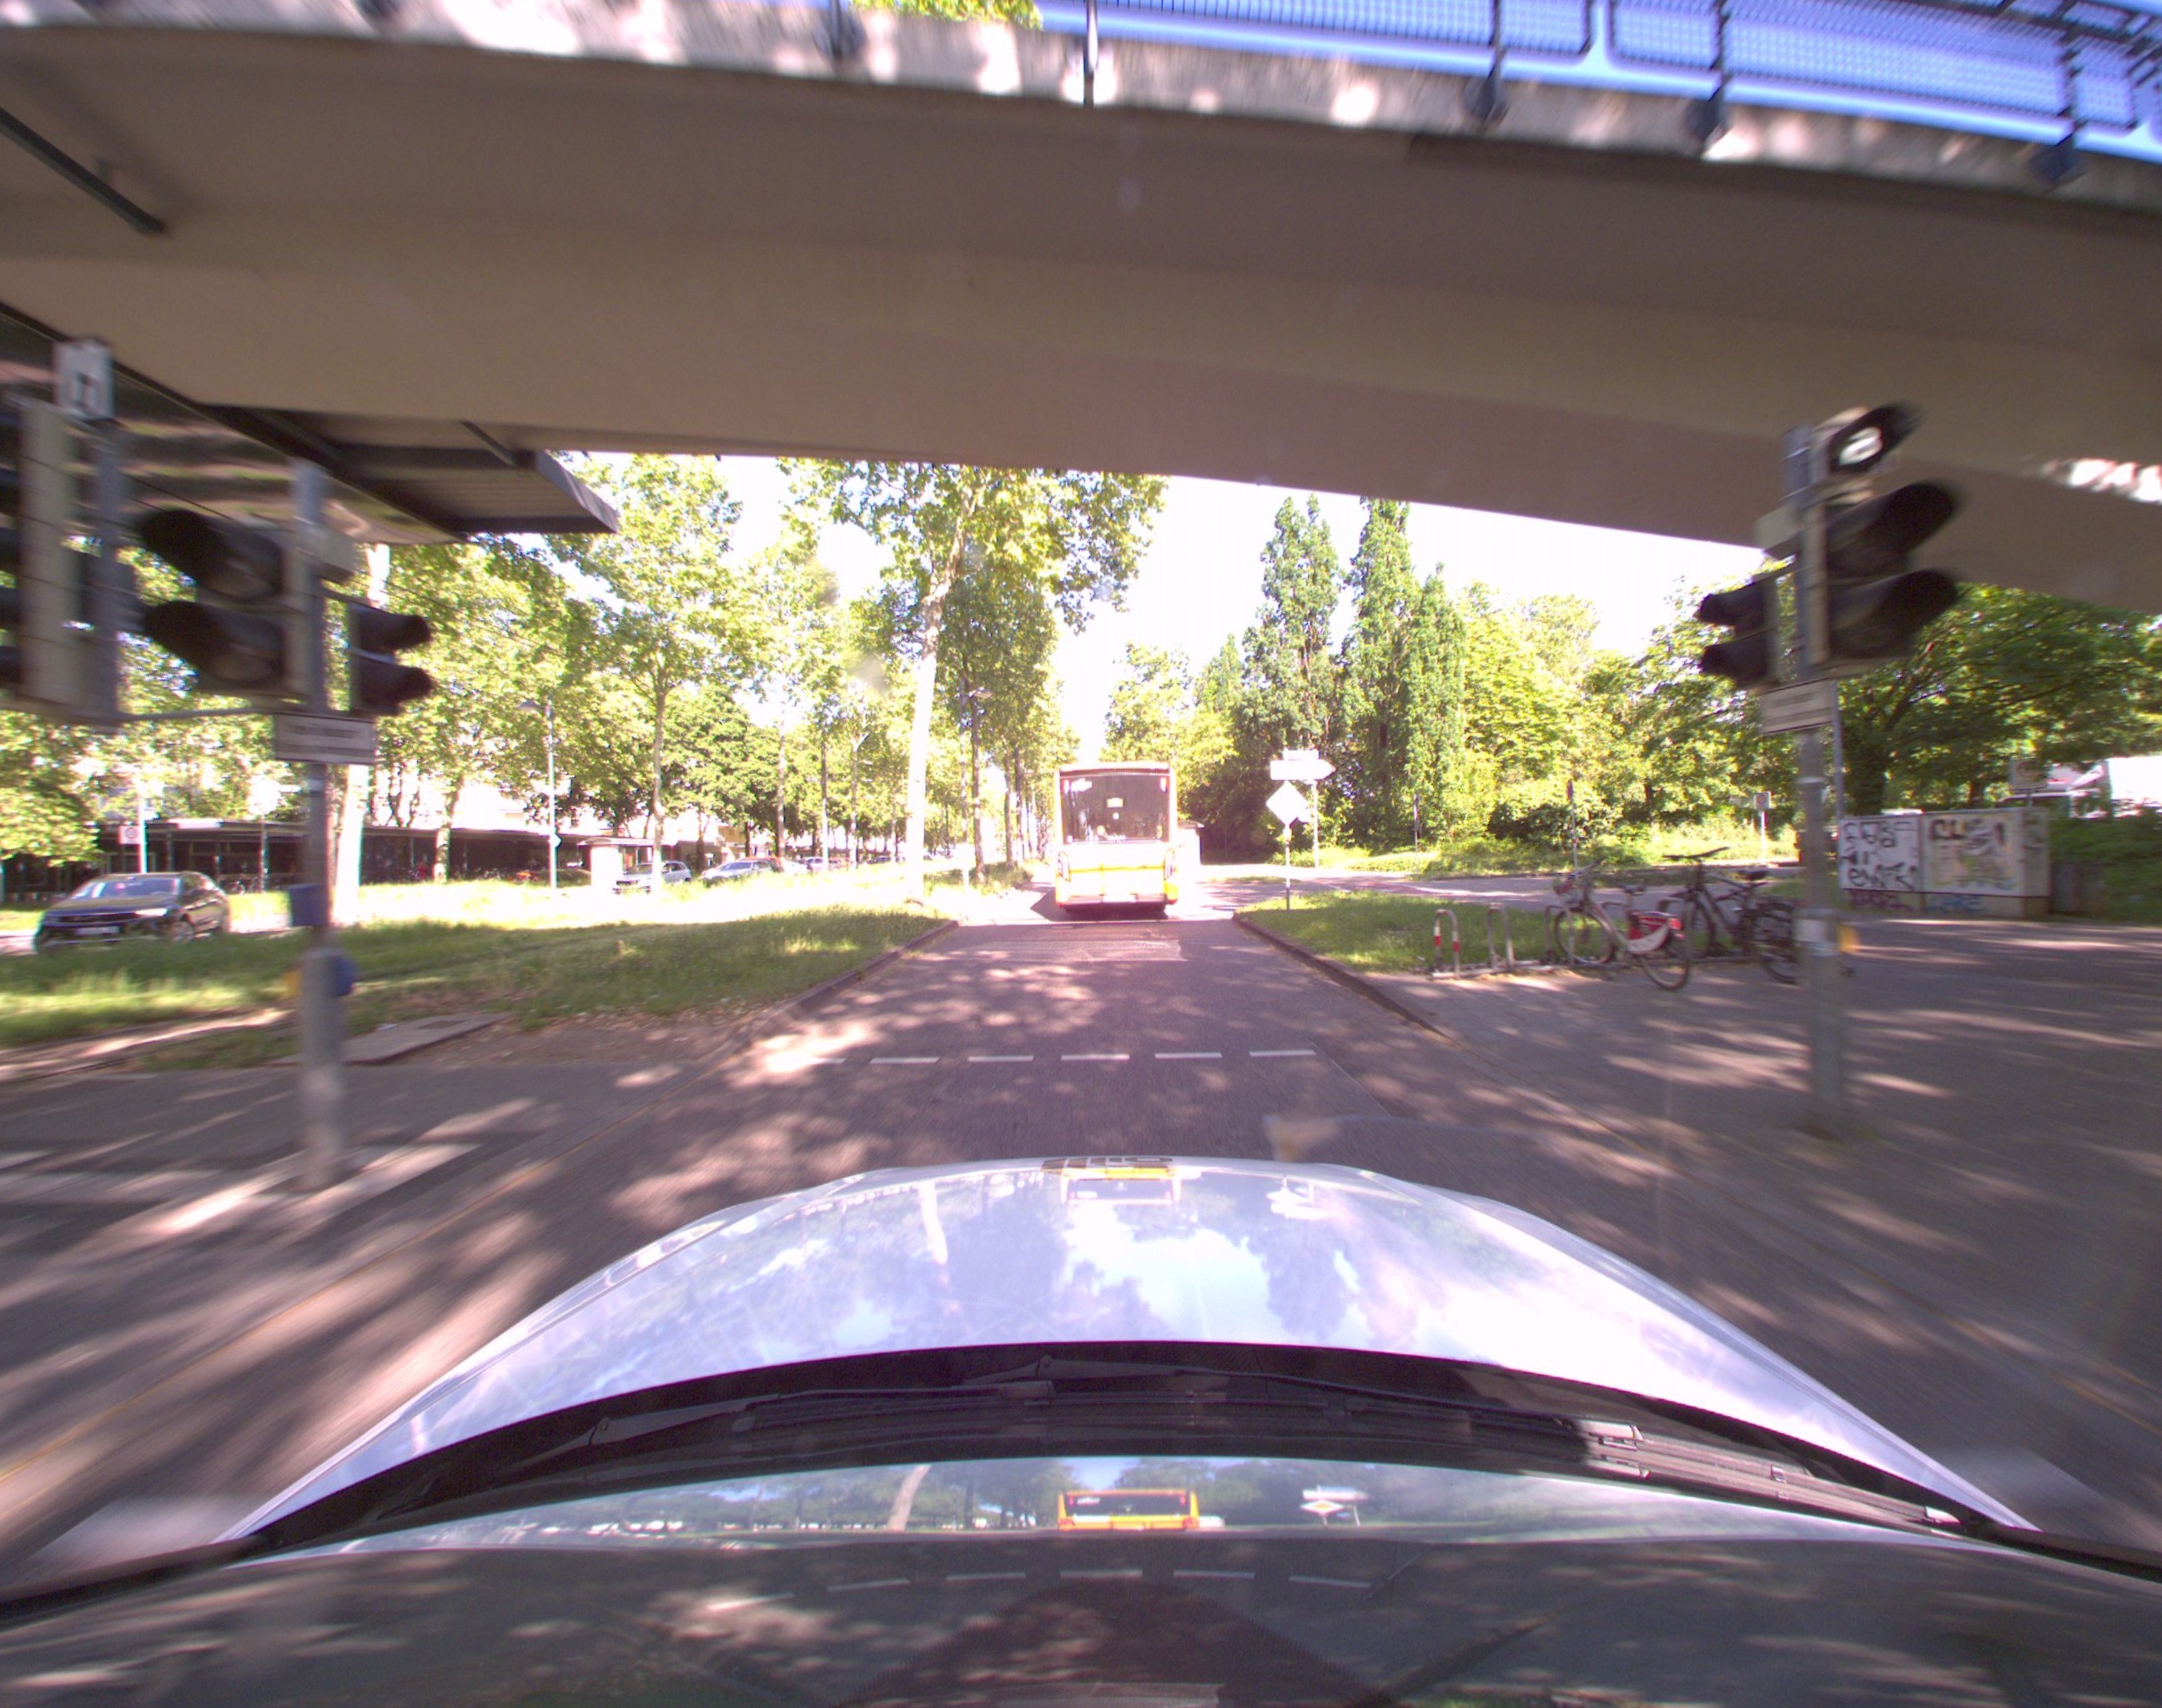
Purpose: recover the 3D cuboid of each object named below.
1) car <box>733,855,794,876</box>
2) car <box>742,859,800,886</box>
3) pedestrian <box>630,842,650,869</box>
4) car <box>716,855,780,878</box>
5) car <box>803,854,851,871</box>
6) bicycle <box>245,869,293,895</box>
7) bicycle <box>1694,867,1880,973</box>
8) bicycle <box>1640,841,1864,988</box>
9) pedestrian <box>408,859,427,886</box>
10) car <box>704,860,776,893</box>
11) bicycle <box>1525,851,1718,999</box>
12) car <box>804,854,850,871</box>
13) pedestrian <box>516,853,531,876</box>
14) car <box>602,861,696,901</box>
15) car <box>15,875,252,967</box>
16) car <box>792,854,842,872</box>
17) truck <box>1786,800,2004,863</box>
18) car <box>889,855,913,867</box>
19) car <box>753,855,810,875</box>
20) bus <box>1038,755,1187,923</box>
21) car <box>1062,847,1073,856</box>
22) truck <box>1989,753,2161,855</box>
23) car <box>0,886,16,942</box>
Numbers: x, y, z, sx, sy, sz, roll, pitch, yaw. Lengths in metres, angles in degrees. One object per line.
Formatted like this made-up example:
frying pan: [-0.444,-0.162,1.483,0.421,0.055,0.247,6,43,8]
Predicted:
car: [-24.736,0.905,63.465,1.778,1.510,4.024,-2,0,45]
car: [-18.903,1.111,49.883,1.787,1.510,4.004,-2,0,3]
pedestrian: [-24.236,0.063,44.774,0.645,1.460,0.651,-2,0,3]
car: [-24.617,0.923,60.251,1.778,1.510,4.024,-2,0,45]
car: [-24.344,0.780,78.056,1.778,1.510,4.024,-2,0,45]
bicycle: [-37.181,1.279,37.311,0.554,1.107,1.796,-2,0,-7]
bicycle: [6.841,0.602,7.986,0.503,0.852,1.474,-5,1,1]
bicycle: [6.245,0.494,7.732,0.588,1.182,1.800,-5,1,1]
pedestrian: [-41.229,1.127,50.615,0.647,1.661,0.649,-2,0,-4]
car: [-17.615,1.099,42.334,1.789,1.510,4.673,-2,0,-1]
bicycle: [5.068,0.596,7.797,0.588,1.182,1.800,-5,1,1]
car: [-25.225,0.814,80.998,1.778,1.510,4.024,-2,0,45]
pedestrian: [-42.096,0.788,61.549,0.647,1.661,0.649,-2,0,-4]
car: [-19.331,1.167,36.669,1.787,1.580,4.290,-2,0,2]
car: [-19.859,1.305,17.364,1.804,1.566,4.249,-2,0,-28]
car: [-24.087,0.788,74.377,1.778,1.510,4.024,-2,0,45]
truck: [30.685,-0.809,30.793,6.617,2.094,2.116,-2,0,-6]
car: [-22.826,0.881,103.393,1.786,1.510,4.005,-2,0,5]
car: [-24.706,0.888,67.249,1.778,1.510,4.024,-2,0,45]
bus: [0.712,-0.321,22.411,2.890,3.266,12.219,-2,0,1]
car: [-2.723,-0.514,163.384,1.978,1.643,4.137,1,1,3]
truck: [40.420,-1.931,31.628,7.919,3.627,2.618,-2,-1,-5]
car: [-31.605,1.728,21.552,4.068,1.510,1.797,-2,0,-6]
